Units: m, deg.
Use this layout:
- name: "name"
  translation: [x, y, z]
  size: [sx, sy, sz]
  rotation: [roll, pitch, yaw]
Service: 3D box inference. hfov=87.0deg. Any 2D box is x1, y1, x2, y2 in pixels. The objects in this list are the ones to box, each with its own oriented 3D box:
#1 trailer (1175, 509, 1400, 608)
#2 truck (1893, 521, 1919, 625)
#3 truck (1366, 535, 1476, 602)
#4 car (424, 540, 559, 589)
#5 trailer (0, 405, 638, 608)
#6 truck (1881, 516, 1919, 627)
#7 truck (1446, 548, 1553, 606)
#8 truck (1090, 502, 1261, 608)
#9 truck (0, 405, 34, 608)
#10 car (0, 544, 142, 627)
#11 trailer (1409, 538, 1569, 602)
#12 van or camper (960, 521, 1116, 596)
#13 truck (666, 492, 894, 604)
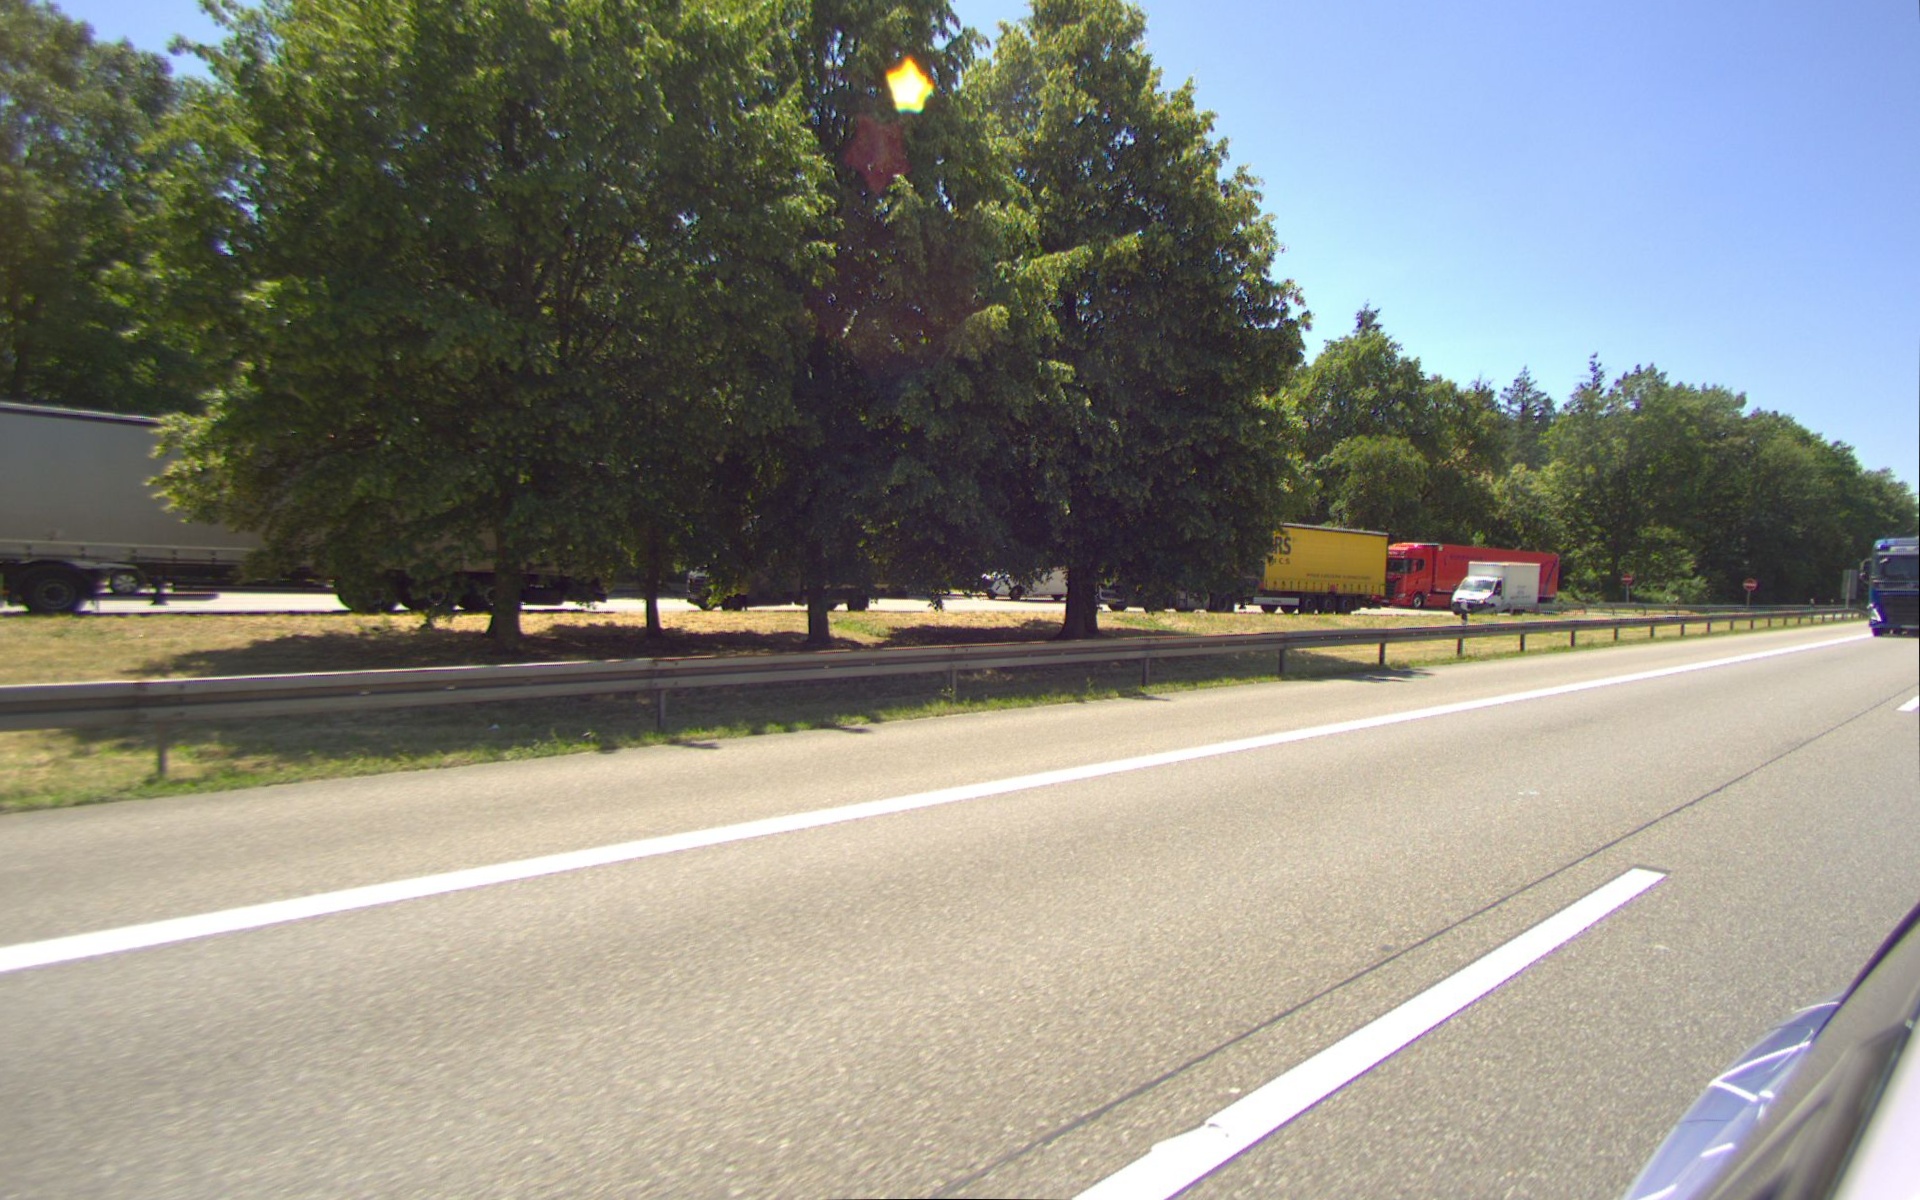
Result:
- name: "trailer"
  translation: [14.822, -1.742, 45.185]
  size: [11.326, 3.984, 3.196]
  rotation: [0, 1, -33]
- name: "truck"
  translation: [41.869, -1.094, 42.798]
  size: [10.357, 4.094, 2.447]
  rotation: [0, 1, -41]
- name: "truck"
  translation: [28.833, -1.934, 63.268]
  size: [6.287, 3.929, 2.993]
  rotation: [1, 1, -29]
- name: "car"
  translation: [-15.961, -1.195, 34.546]
  size: [3.924, 1.565, 1.849]
  rotation: [0, 2, -35]
- name: "trailer"
  translation: [-14.645, -1.806, 24.079]
  size: [13.125, 3.838, 3.108]
  rotation: [0, 0, -40]
- name: "truck"
  translation: [36.975, -1.052, 38.501]
  size: [4.001, 4.088, 2.453]
  rotation: [0, 1, -42]
- name: "truck"
  translation: [29.733, -1.221, 55.662]
  size: [7.521, 2.983, 2.474]
  rotation: [0, 1, -39]
- name: "truck"
  translation: [8.816, -1.735, 41.216]
  size: [6.489, 3.984, 3.196]
  rotation: [0, 1, -34]
- name: "truck"
  translation: [-20.827, -1.776, 18.801]
  size: [5.224, 3.838, 3.093]
  rotation: [0, 0, -41]
- name: "car"
  translation: [-24.170, -0.392, 25.766]
  size: [5.146, 2.038, 1.997]
  rotation: [0, 2, -41]
- name: "trailer"
  translation: [35.078, -1.902, 66.816]
  size: [12.630, 3.926, 2.993]
  rotation: [0, 1, -30]
- name: "van or camper"
  translation: [3.721, -1.909, 47.974]
  size: [6.861, 3.275, 3.012]
  rotation: [0, 2, -31]
- name: "truck"
  translation: [-5.449, -1.473, 31.152]
  size: [6.492, 3.125, 2.476]
  rotation: [0, 0, -36]
